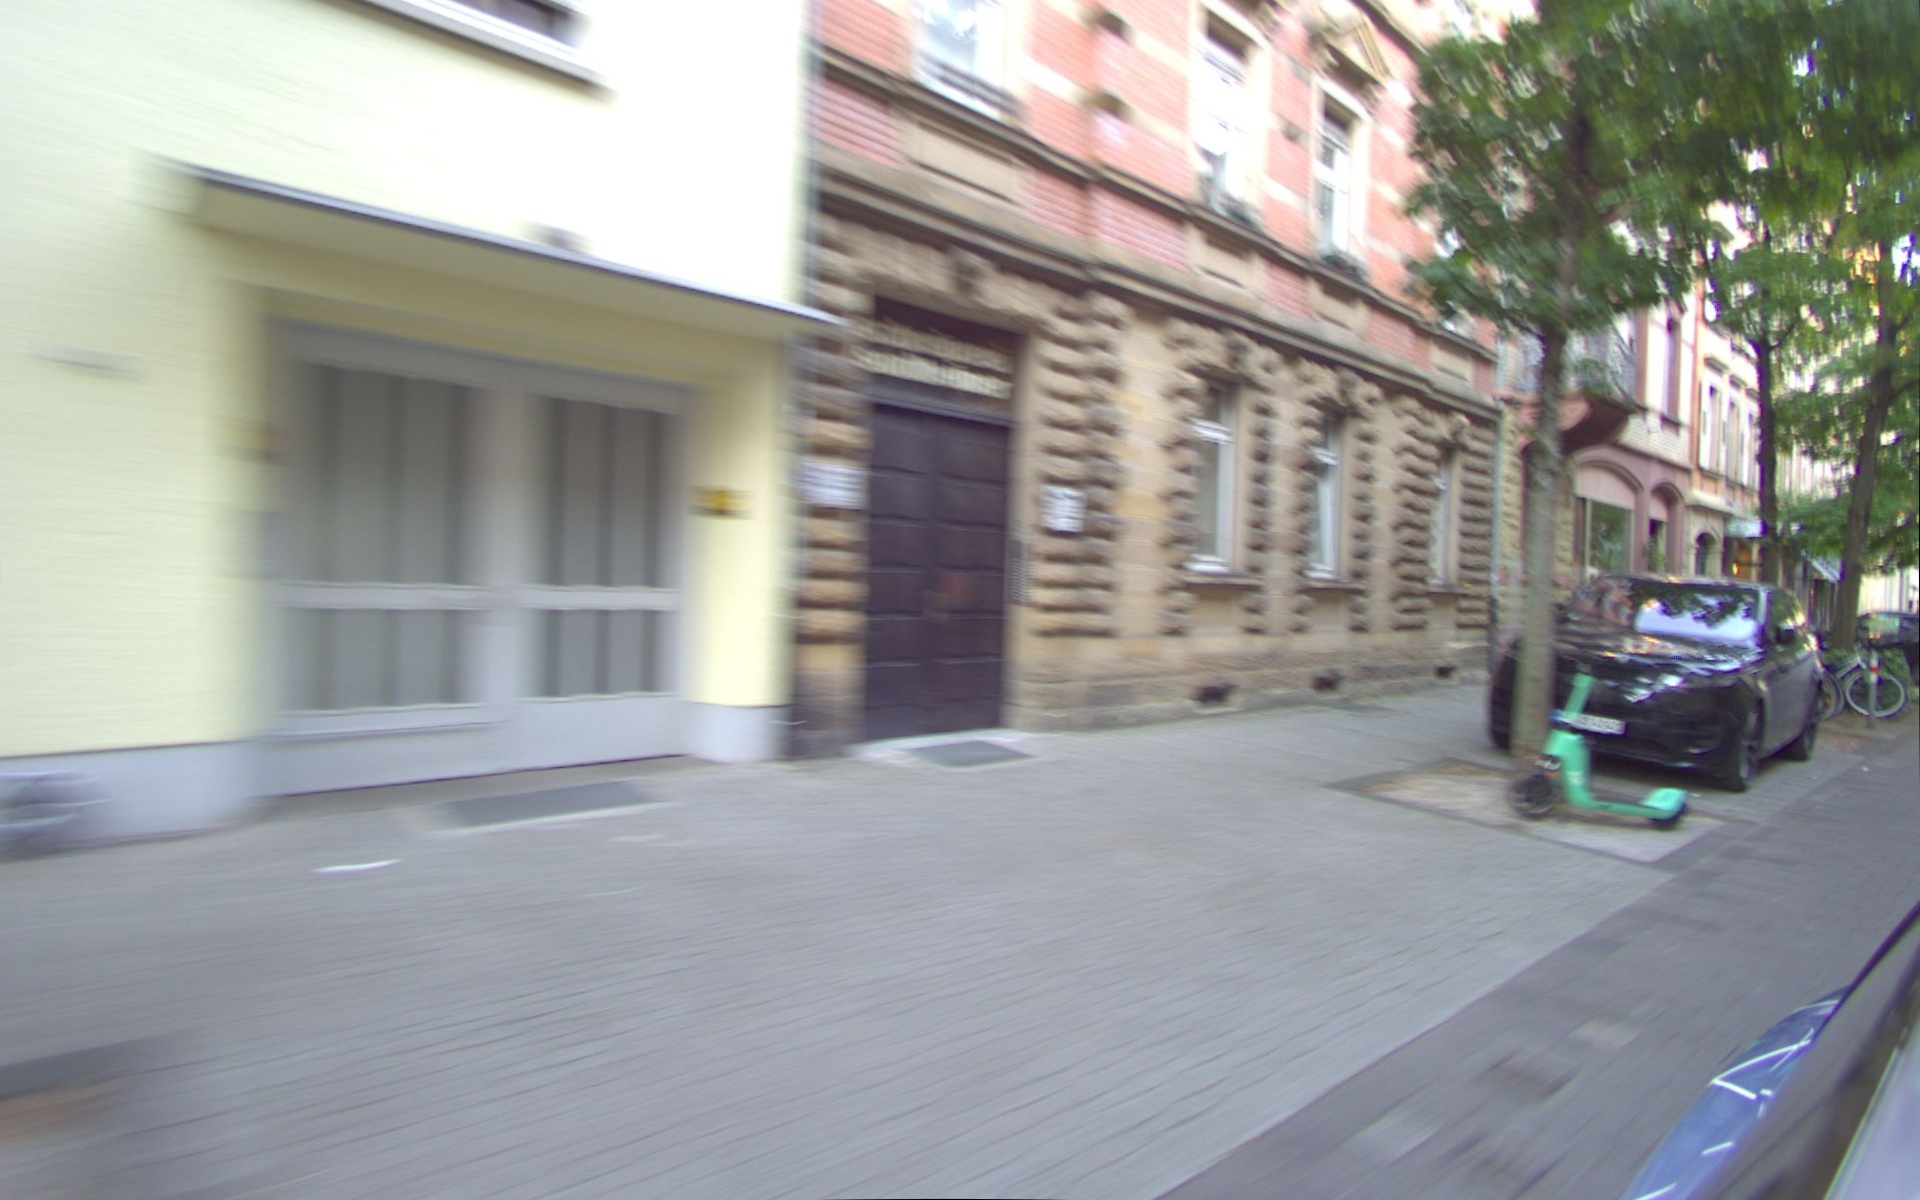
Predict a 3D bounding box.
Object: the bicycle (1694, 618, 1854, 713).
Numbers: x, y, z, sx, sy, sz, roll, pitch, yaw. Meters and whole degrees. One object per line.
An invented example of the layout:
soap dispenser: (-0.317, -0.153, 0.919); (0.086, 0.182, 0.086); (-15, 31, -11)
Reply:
bicycle: (11.876, 0.922, 14.815); (0.572, 1.213, 1.701); (1, 1, -38)

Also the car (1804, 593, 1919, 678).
car: (20.317, 0.768, 21.907); (1.769, 1.618, 2.805); (0, 5, -40)

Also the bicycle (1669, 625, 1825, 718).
bicycle: (11.284, 0.989, 14.560); (0.572, 1.158, 1.663); (1, 1, -38)

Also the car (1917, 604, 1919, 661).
car: (27.564, 0.913, 27.628); (4.033, 1.509, 1.736); (0, 2, -42)

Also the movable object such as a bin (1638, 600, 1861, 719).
movable object such as a bin: (10.750, 0.755, 13.875); (0.756, 1.320, 2.223); (1, 4, -38)

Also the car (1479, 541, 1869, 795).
car: (7.153, 0.480, 9.929); (4.727, 1.855, 2.018); (0, 4, -42)

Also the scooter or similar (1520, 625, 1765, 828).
scooter or similar: (4.536, 0.818, 6.789); (1.094, 1.204, 0.676); (2, 3, -1)

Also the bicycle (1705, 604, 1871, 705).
bicycle: (12.502, 0.781, 15.322); (0.788, 1.309, 1.765); (1, 3, -41)

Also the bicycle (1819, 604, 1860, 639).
bicycle: (29.038, 0.696, 33.409); (1.916, 1.048, 0.688); (0, 4, -41)
